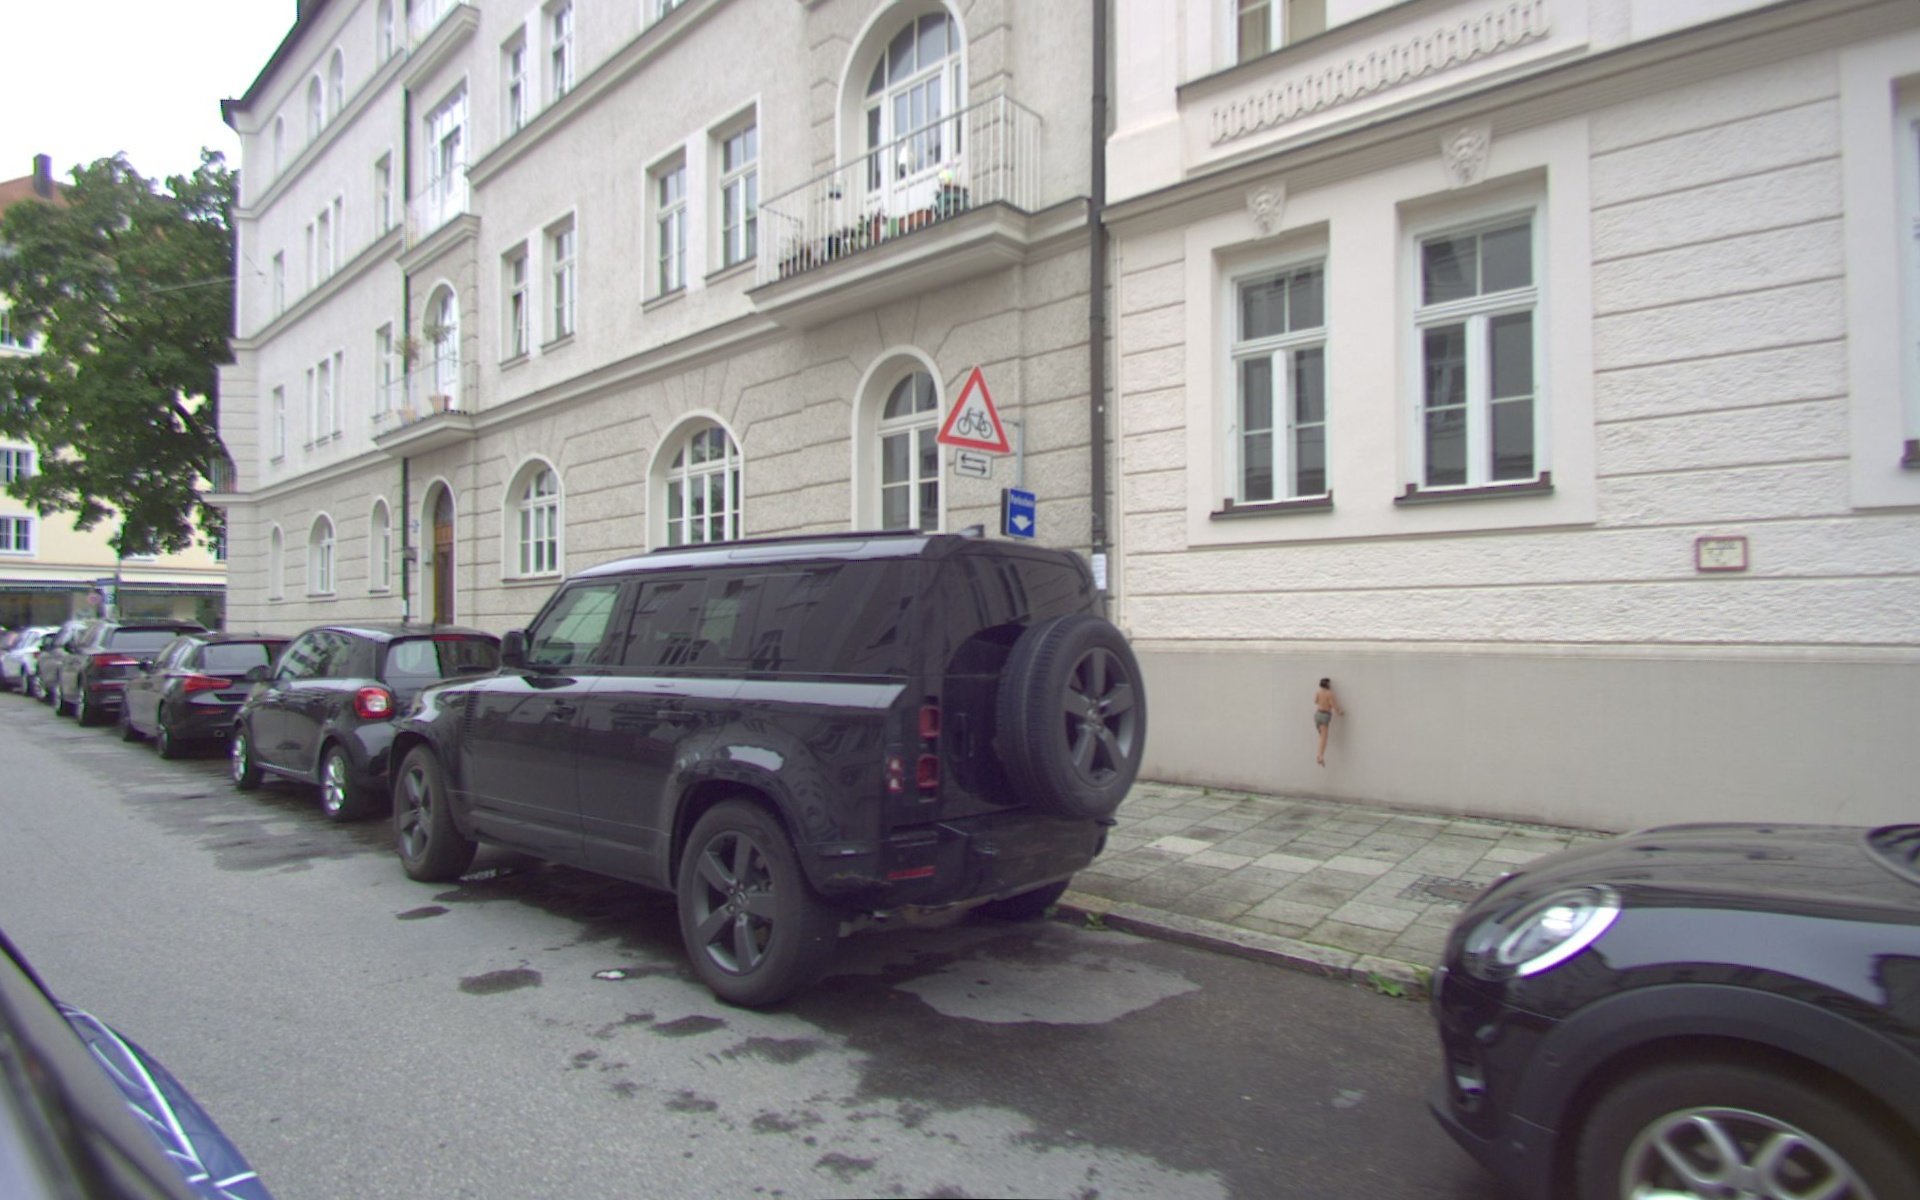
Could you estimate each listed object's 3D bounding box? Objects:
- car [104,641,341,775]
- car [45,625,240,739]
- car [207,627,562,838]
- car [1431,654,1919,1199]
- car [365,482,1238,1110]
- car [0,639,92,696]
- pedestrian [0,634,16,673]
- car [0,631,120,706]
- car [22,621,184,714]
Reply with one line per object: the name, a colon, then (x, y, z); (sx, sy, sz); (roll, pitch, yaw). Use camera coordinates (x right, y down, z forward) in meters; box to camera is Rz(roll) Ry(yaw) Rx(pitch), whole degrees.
car: (-9.432, 1.238, 12.824); (4.091, 1.418, 1.636); (-2, -4, 43)
car: (-13.488, 1.256, 16.597); (4.433, 1.612, 1.856); (-2, -3, 43)
car: (-5.247, 1.032, 9.080); (3.528, 1.525, 1.600); (-2, -4, 40)
car: (3.253, 0.808, 1.570); (4.242, 1.405, 1.817); (-2, -5, 41)
car: (-1.167, 0.703, 5.329); (4.758, 1.909, 1.818); (-2, -5, 40)
car: (-24.670, 1.744, 26.877); (4.474, 1.404, 1.664); (-2, -3, 39)
pedestrian: (-39.796, 2.211, 41.804); (0.907, 1.623, 0.778); (0, -2, -19)
car: (-21.204, 1.529, 23.553); (3.944, 1.580, 1.678); (-1, -2, 37)
car: (-17.515, 1.317, 20.626); (4.209, 1.690, 1.818); (-2, -3, 40)
